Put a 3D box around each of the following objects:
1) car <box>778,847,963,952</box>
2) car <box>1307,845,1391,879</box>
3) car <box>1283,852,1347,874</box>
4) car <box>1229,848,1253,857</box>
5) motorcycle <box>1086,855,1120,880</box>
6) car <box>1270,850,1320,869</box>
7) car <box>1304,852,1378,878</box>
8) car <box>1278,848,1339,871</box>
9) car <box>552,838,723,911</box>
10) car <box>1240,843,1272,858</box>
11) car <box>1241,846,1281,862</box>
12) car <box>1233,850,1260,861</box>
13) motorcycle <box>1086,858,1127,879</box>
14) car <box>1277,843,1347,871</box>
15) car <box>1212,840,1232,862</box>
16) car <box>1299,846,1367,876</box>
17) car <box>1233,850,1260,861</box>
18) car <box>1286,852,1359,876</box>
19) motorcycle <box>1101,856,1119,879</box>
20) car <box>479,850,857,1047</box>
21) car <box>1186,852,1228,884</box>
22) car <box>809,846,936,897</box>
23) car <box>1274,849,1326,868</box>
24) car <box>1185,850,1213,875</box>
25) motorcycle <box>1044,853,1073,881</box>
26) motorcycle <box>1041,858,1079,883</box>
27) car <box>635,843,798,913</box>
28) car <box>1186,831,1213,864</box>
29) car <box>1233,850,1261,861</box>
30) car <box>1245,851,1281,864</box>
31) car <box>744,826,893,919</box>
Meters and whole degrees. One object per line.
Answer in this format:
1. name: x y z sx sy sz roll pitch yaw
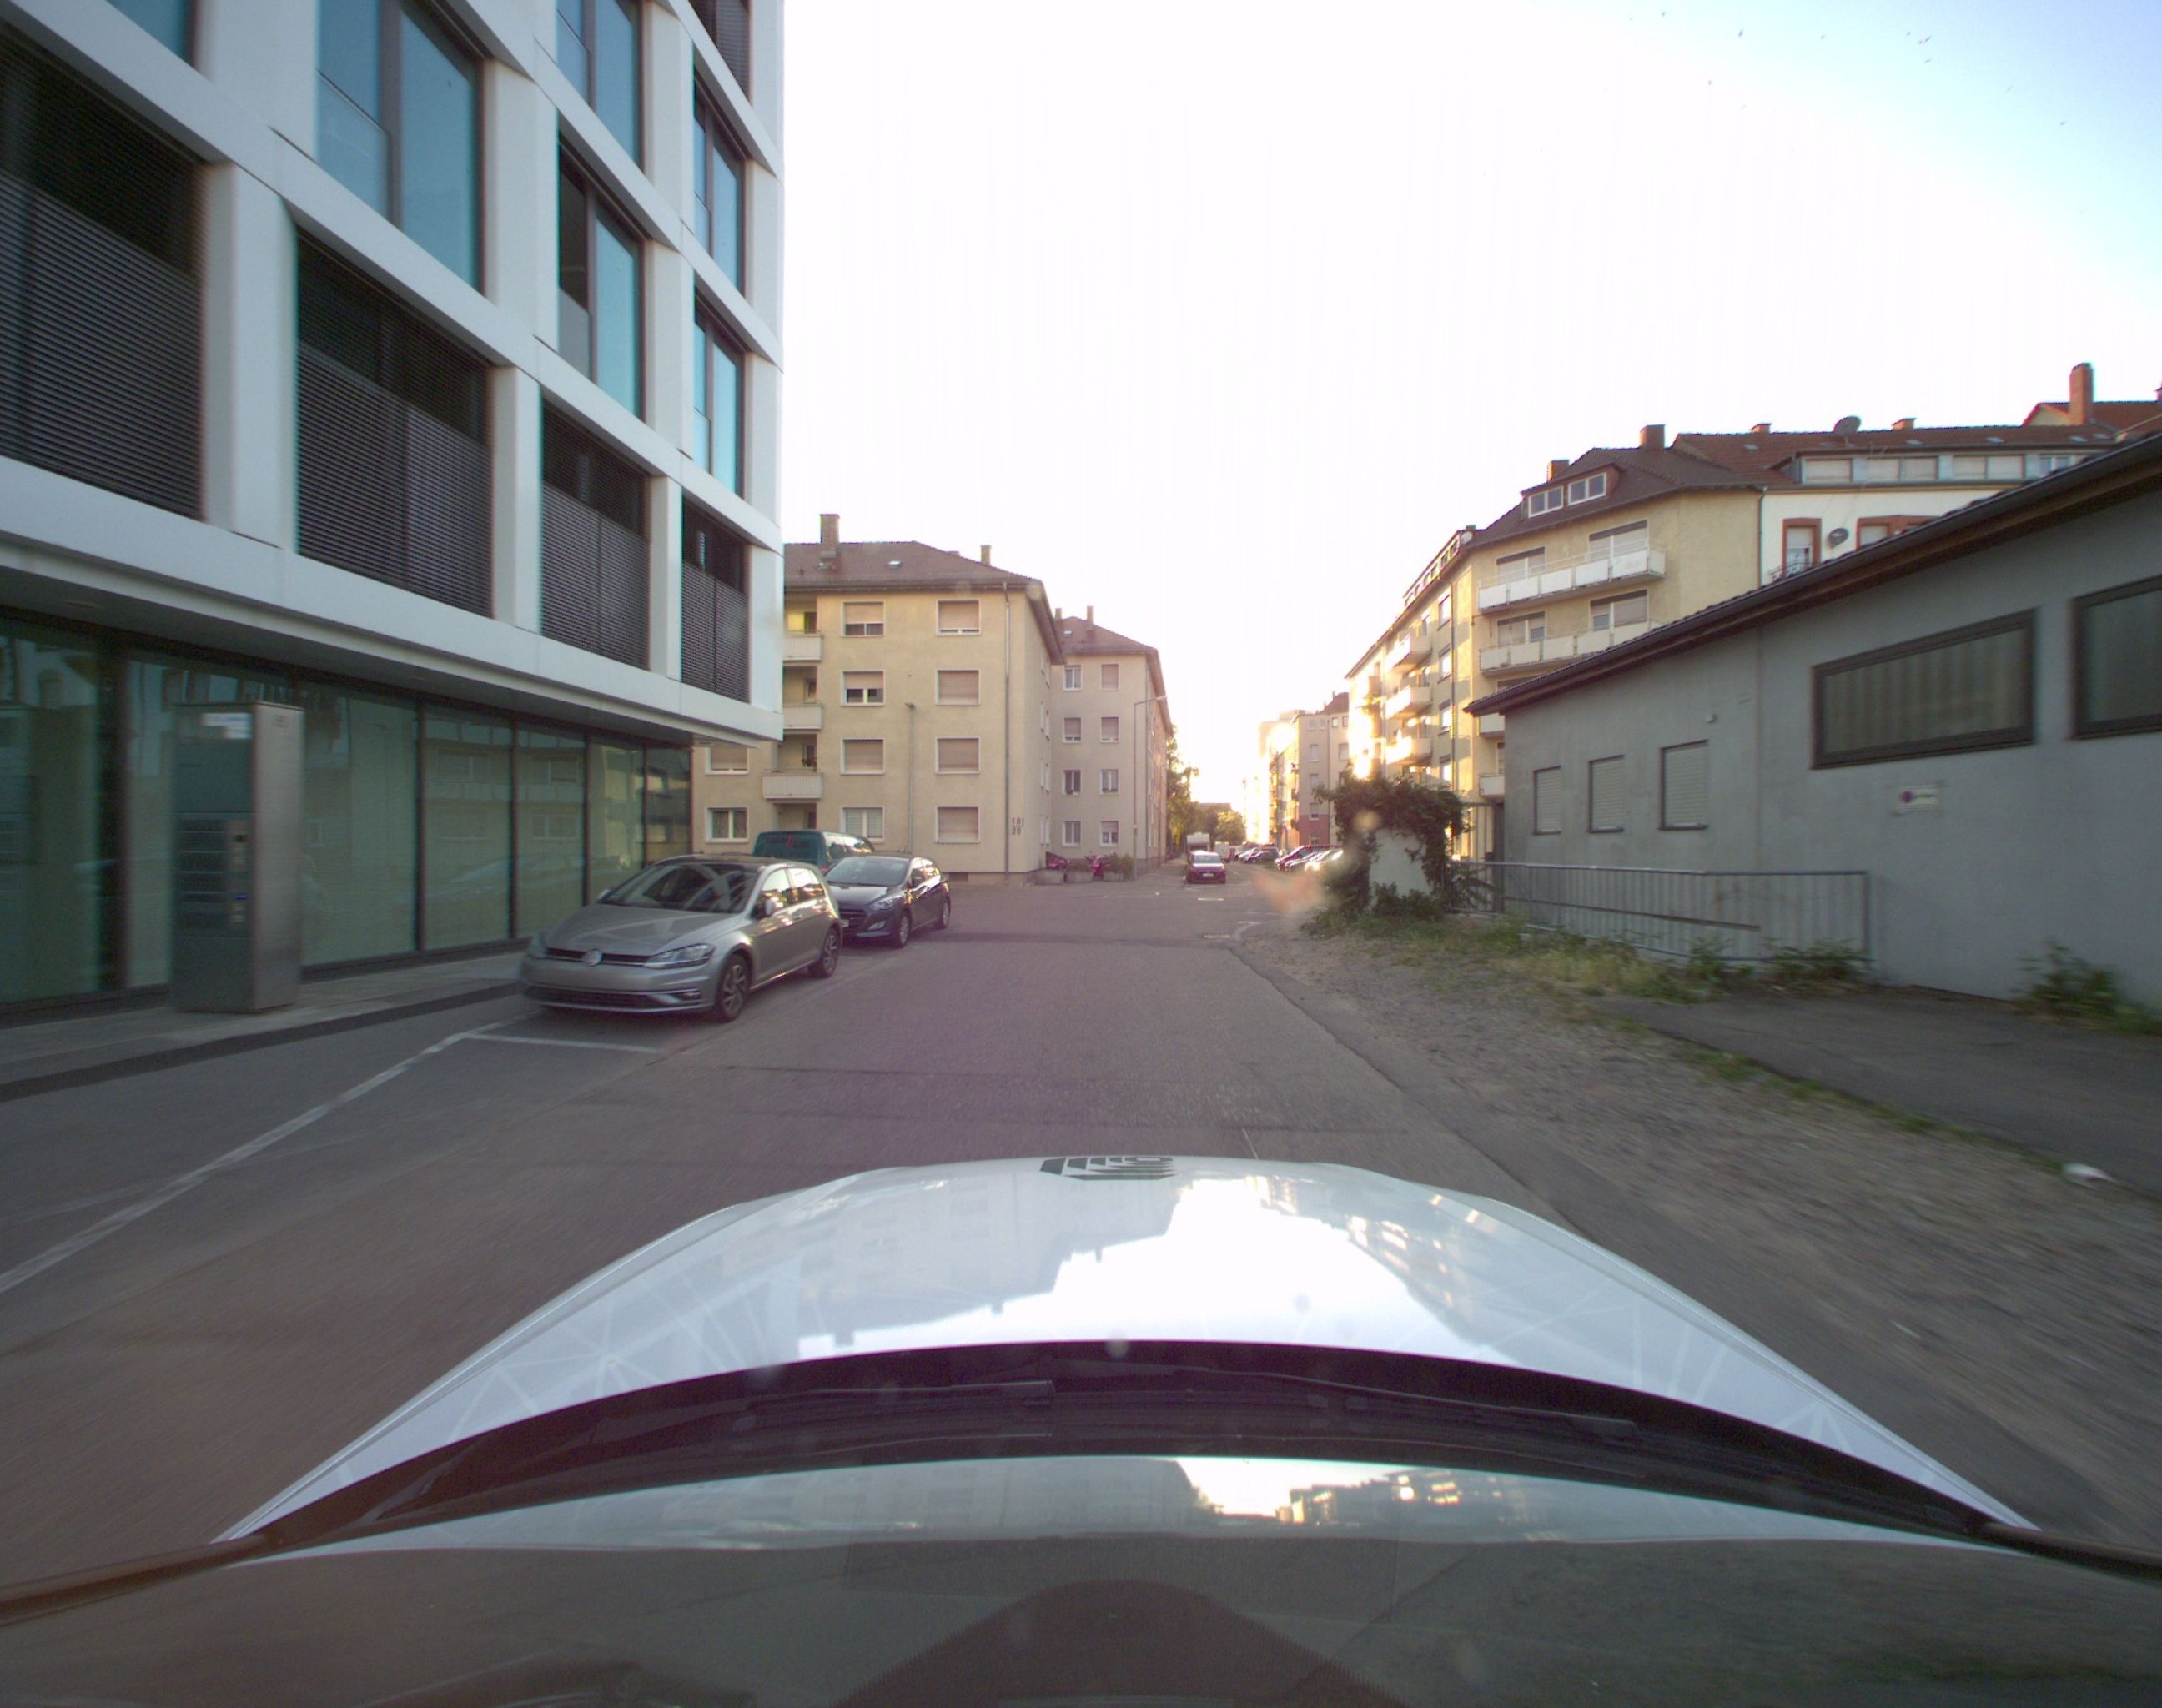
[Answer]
1. car: -3.509 0.682 14.508 1.771 1.479 4.336 4 0 4
2. car: 14.998 0.464 45.799 4.256 1.860 1.745 0 -1 8
3. car: 16.576 0.626 57.740 4.123 1.471 1.639 -2 -1 7
4. car: 28.580 -0.195 145.602 3.965 1.530 1.662 -1 0 7
5. motorcycle: 1.059 0.642 38.606 0.682 1.160 2.047 0 0 32
6. car: 17.836 0.467 67.925 3.791 1.428 1.638 -2 -1 7
7. car: 15.288 0.645 48.026 3.933 1.522 1.710 0 0 7
8. car: 17.547 0.415 63.092 4.301 1.637 1.821 -2 -1 7
9. car: -11.225 0.543 21.029 1.721 1.659 4.335 0 -2 4
10. car: 23.501 -0.415 109.312 3.969 2.013 2.002 0 0 4
11. car: 22.820 0.025 103.312 4.787 1.968 1.742 -1 0 7
12. car: 25.326 0.226 124.914 3.965 1.530 1.662 -1 0 7
13. motorcycle: 1.350 0.759 43.149 2.106 1.105 0.563 0 0 19
14. car: 17.071 0.200 60.274 4.697 1.909 2.063 -2 -1 7
15. car: 18.194 -0.325 105.307 2.118 2.717 4.842 -1 0 6
16. car: 15.530 0.440 50.309 3.769 1.695 1.659 -2 -1 8
17. car: 24.932 0.230 122.795 3.965 1.530 1.662 -1 0 7
18. car: 15.495 0.637 52.400 4.284 1.450 1.659 -2 -1 7
19. motorcycle: 1.465 0.665 40.918 0.678 1.079 2.039 0 0 9
20. car: -3.925 0.754 8.691 1.704 1.479 4.186 4 0 2
21. car: 6.159 0.662 40.147 1.835 1.473 4.085 0 0 6
22. car: -7.425 0.600 29.263 3.990 1.617 1.883 0 4 2
23. car: 17.579 0.376 65.418 3.791 1.428 1.638 -2 -1 7
24. car: 7.518 0.532 52.094 1.607 1.473 3.511 -1 0 6
25. motorcycle: -1.063 0.601 38.629 0.717 1.264 2.090 0 0 18
26. motorcycle: -0.915 0.715 36.295 0.716 1.079 2.093 0 0 28
27. car: -8.851 0.599 20.253 1.771 1.550 4.335 0 -2 4
28. car: 12.421 -0.643 85.204 2.605 3.269 7.714 -1 0 8
29. car: 24.518 0.235 120.245 3.965 1.530 1.662 -1 0 7
30. car: 21.561 0.403 96.414 3.965 1.530 1.662 -1 0 7
31. car: -6.147 0.368 19.743 1.790 1.979 4.695 0 1 4
